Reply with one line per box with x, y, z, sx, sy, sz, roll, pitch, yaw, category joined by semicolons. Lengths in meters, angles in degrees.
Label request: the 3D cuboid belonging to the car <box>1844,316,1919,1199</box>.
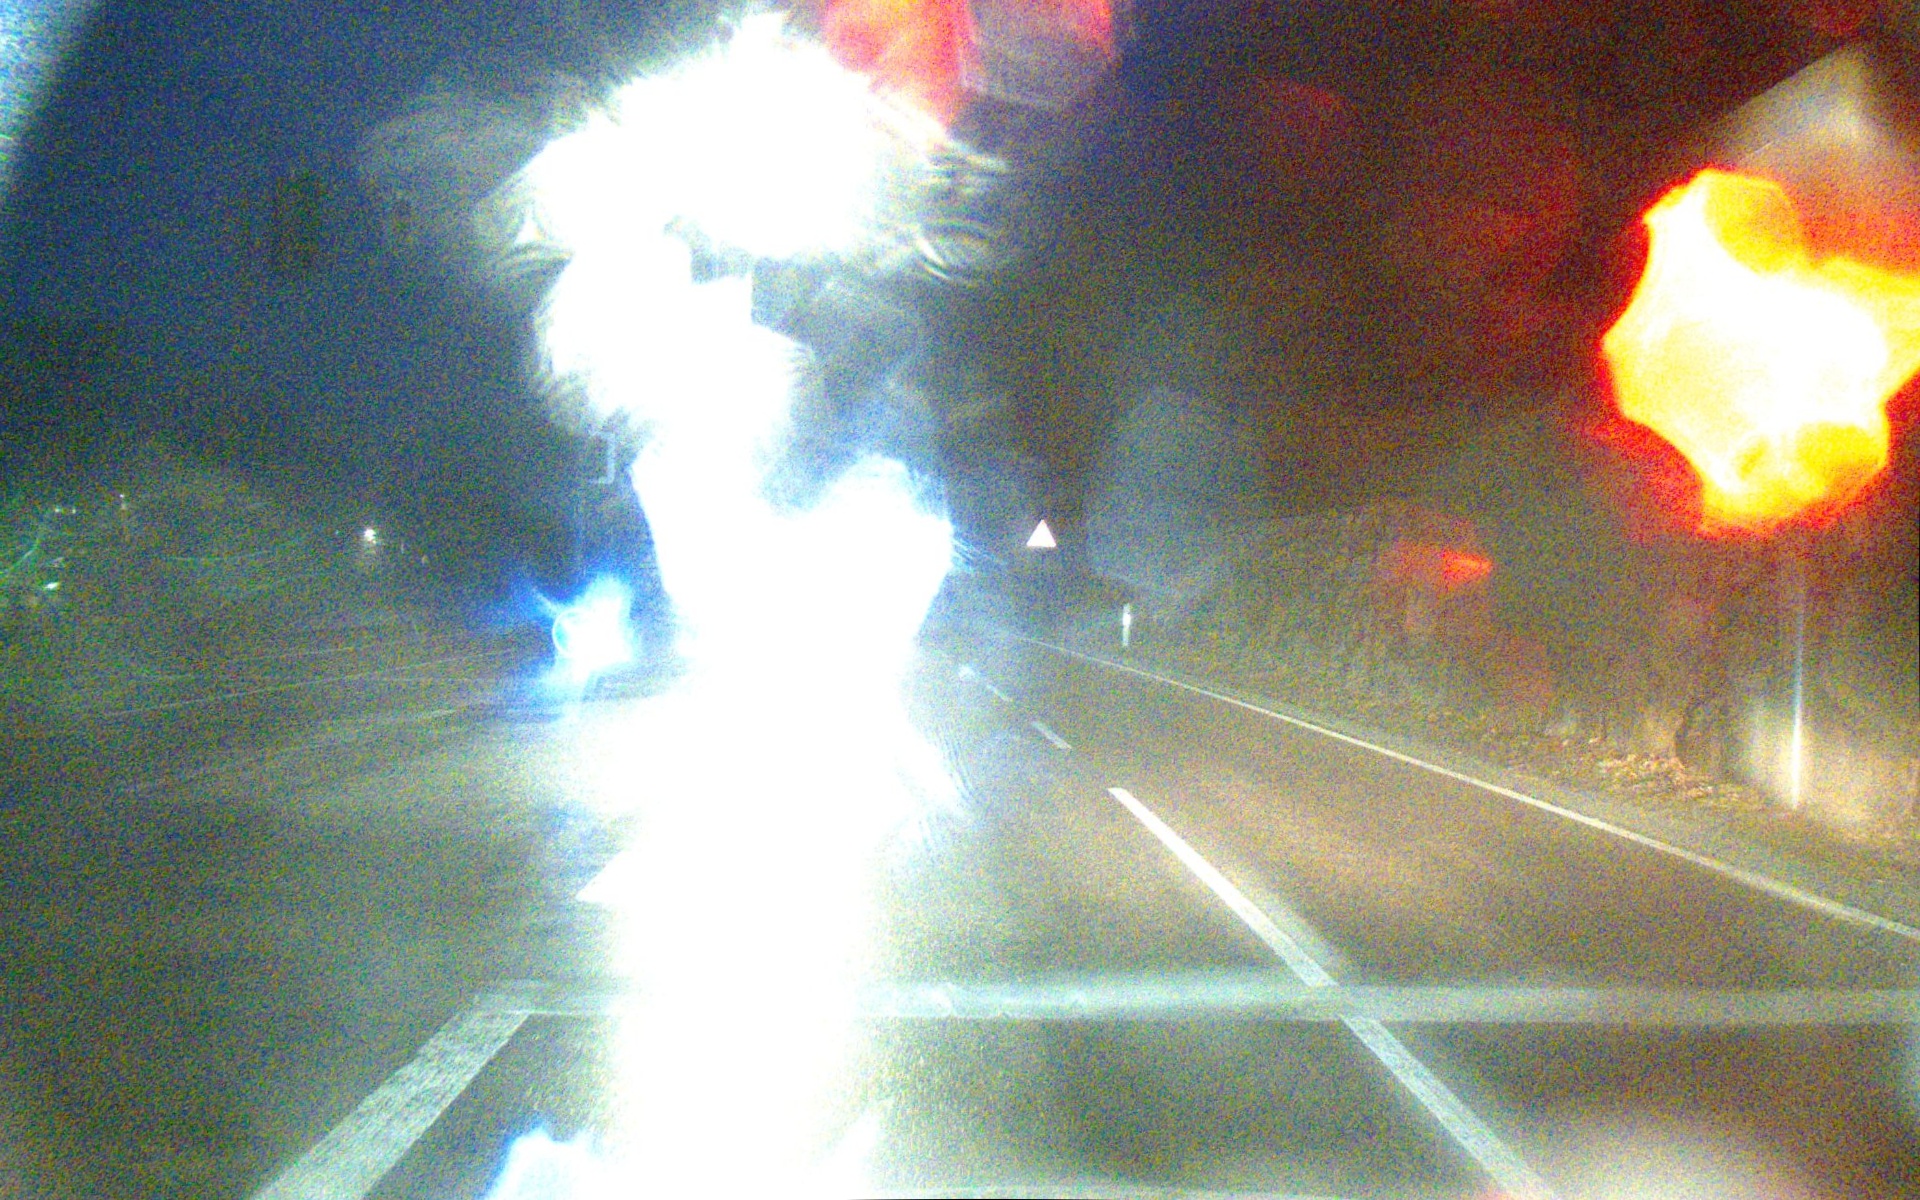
2.932;0.465;1.401;1.755;2.057;4.577;1;0;-3;car

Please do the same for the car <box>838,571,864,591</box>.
-11.169;-1.947;169.707;1.952;1.746;4.002;5;-1;4;car

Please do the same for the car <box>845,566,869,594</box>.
-7.956;-1.533;128.265;1.755;2.057;4.577;1;0;-3;car
